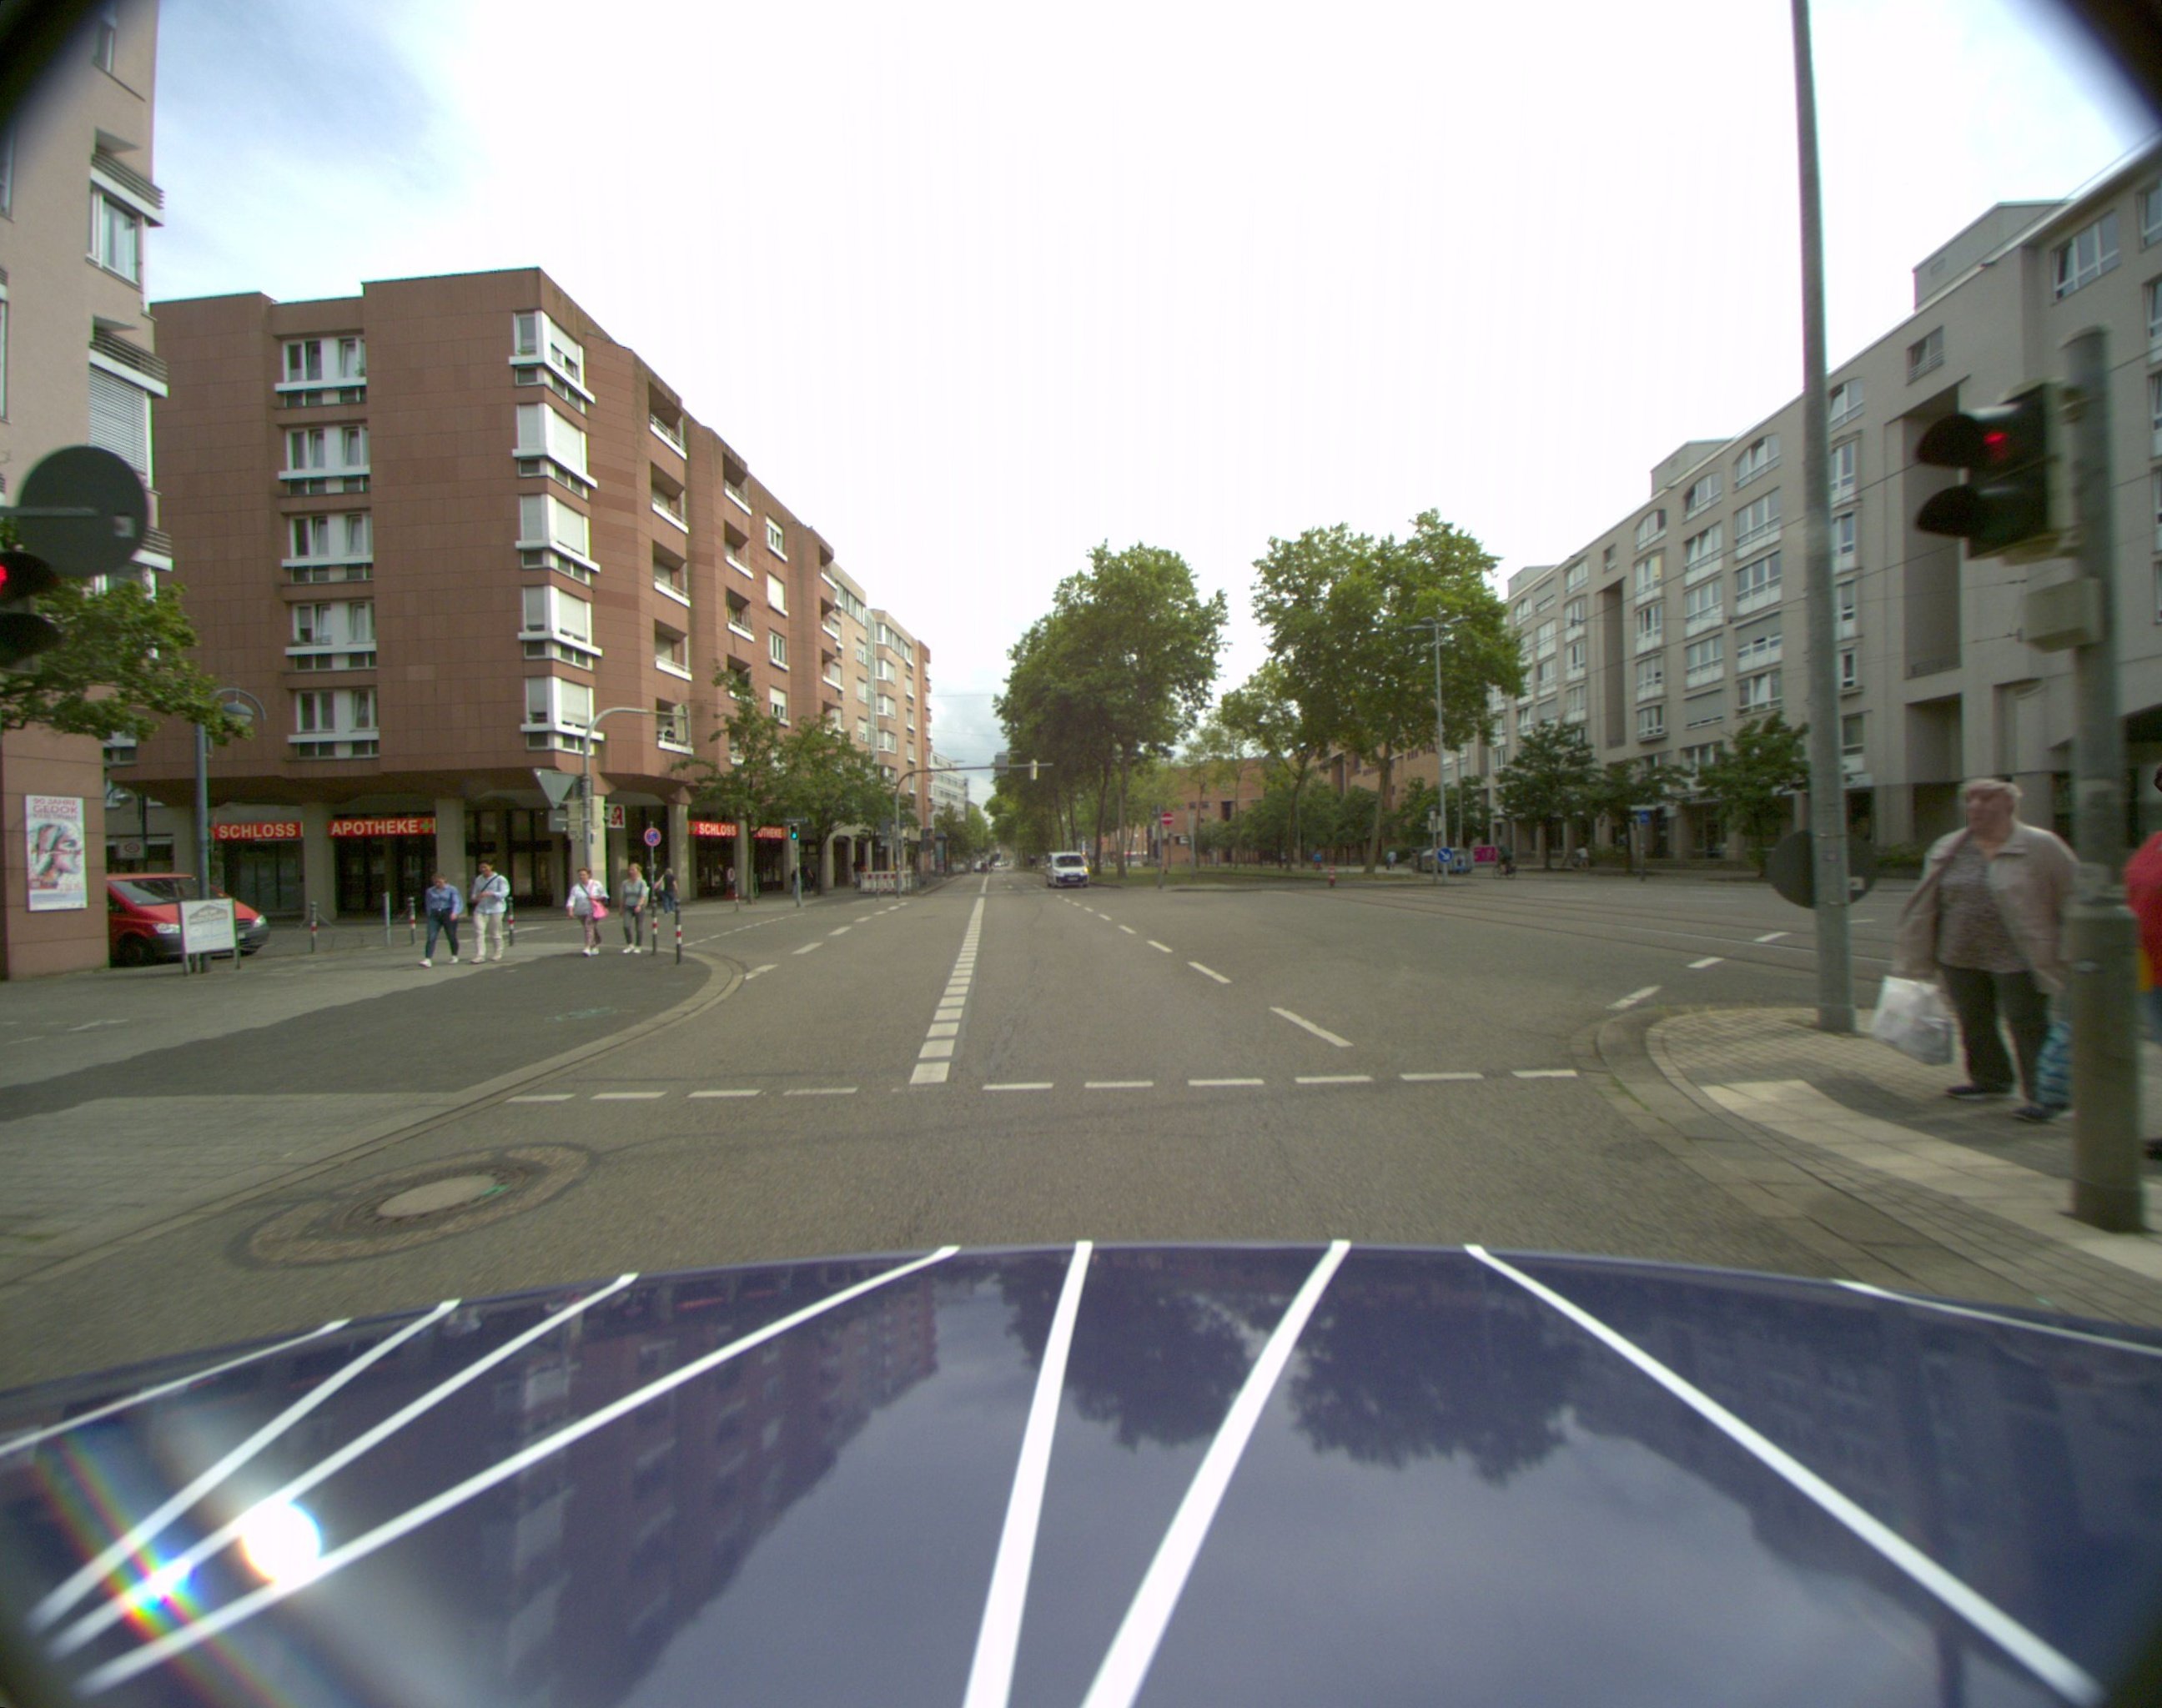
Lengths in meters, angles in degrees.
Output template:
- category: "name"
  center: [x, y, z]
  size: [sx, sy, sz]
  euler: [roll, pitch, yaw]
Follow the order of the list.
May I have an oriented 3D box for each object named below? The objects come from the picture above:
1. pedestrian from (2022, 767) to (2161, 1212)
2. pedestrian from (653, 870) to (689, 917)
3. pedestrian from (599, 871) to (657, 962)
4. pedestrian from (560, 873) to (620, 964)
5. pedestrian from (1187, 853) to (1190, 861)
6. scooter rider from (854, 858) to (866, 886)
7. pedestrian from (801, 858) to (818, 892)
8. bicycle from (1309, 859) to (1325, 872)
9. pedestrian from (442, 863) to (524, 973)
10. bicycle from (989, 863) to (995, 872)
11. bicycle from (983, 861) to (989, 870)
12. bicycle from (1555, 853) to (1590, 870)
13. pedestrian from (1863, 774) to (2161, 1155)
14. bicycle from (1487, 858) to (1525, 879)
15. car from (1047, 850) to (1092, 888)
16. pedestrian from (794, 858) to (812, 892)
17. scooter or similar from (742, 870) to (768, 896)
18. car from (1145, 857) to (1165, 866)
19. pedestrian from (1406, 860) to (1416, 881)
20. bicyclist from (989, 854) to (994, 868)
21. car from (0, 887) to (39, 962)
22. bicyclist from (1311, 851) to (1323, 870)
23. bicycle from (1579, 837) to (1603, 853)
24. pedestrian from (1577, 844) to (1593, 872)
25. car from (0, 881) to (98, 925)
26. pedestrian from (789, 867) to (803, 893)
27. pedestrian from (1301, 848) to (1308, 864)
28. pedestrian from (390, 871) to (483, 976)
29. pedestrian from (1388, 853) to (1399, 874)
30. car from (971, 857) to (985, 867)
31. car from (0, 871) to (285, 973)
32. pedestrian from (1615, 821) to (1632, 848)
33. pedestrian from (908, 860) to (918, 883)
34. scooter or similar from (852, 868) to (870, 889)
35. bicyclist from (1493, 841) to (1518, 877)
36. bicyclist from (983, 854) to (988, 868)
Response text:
- category: "pedestrian"
  center: [4.467, 0.515, 3.002]
  size: [0.553, 1.708, 0.892]
  euler: [-1, 1, 20]
- category: "pedestrian"
  center: [-13.991, 1.336, 25.944]
  size: [0.677, 1.529, 0.947]
  euler: [-1, 0, 1]
- category: "pedestrian"
  center: [-8.388, 1.142, 14.099]
  size: [0.518, 1.607, 0.850]
  euler: [-1, 0, -1]
- category: "pedestrian"
  center: [-9.058, 1.165, 14.049]
  size: [0.518, 1.607, 0.851]
  euler: [-1, 0, 0]
- category: "pedestrian"
  center: [21.835, 0.612, 153.929]
  size: [0.508, 1.523, 0.520]
  euler: [-1, 0, 8]
- category: "scooter rider"
  center: [-13.525, 1.107, 46.531]
  size: [0.463, 1.710, 0.553]
  euler: [-1, 1, 11]
- category: "pedestrian"
  center: [-14.499, 1.129, 40.561]
  size: [0.552, 1.789, 0.658]
  euler: [-1, 1, 5]
- category: "bicycle"
  center: [20.807, 1.037, 67.066]
  size: [0.692, 1.085, 1.876]
  euler: [-2, 0, -3]
- category: "pedestrian"
  center: [-10.280, 1.069, 13.081]
  size: [0.678, 1.818, 0.851]
  euler: [-1, 0, 0]
- category: "bicycle"
  center: [-10.932, 1.627, 93.302]
  size: [0.596, 1.132, 1.857]
  euler: [-1, 0, -6]
- category: "bicycle"
  center: [-11.959, 1.418, 95.632]
  size: [0.596, 1.132, 2.090]
  euler: [-1, 0, -6]
- category: "bicycle"
  center: [27.740, 0.413, 42.913]
  size: [1.631, 0.938, 0.440]
  euler: [-1, 1, 6]
- category: "pedestrian"
  center: [4.687, 0.499, 3.876]
  size: [0.553, 1.708, 0.891]
  euler: [-1, 1, 11]
- category: "bicycle"
  center: [22.215, 0.746, 39.760]
  size: [0.679, 1.086, 2.209]
  euler: [-1, 0, -2]
- category: "car"
  center: [-0.694, 0.785, 41.077]
  size: [1.938, 1.914, 4.953]
  euler: [-1, 0, -6]
- category: "pedestrian"
  center: [-15.027, 1.147, 41.105]
  size: [0.552, 1.789, 0.658]
  euler: [-1, 1, 24]
- category: "scooter or similar"
  center: [-15.480, 1.351, 36.124]
  size: [0.555, 1.163, 1.406]
  euler: [-1, 0, 3]
- category: "car"
  center: [10.479, 1.046, 107.771]
  size: [1.735, 1.238, 4.532]
  euler: [-2, 0, -7]
- category: "pedestrian"
  center: [26.993, 1.374, 62.187]
  size: [0.554, 1.695, 0.626]
  euler: [-1, 1, -2]
- category: "bicyclist"
  center: [-10.938, 0.879, 93.264]
  size: [0.591, 1.760, 1.034]
  euler: [-1, 0, -6]
- category: "car"
  center: [-25.910, 1.630, 16.266]
  size: [4.836, 1.581, 2.000]
  euler: [-1, 2, 6]
- category: "bicyclist"
  center: [20.793, 0.560, 67.027]
  size: [0.692, 1.663, 0.953]
  euler: [-2, 0, -3]
- category: "bicycle"
  center: [31.870, -0.562, 47.514]
  size: [0.440, 0.938, 1.633]
  euler: [-1, 0, 1]
- category: "pedestrian"
  center: [28.074, 0.224, 42.312]
  size: [0.515, 1.521, 0.533]
  euler: [-2, 0, -16]
- category: "car"
  center: [-42.001, 1.934, 29.933]
  size: [1.850, 1.548, 4.453]
  euler: [-2, 0, -20]
- category: "pedestrian"
  center: [-15.049, 1.358, 40.079]
  size: [0.486, 1.316, 0.487]
  euler: [-2, 1, -44]
- category: "pedestrian"
  center: [24.332, 0.244, 82.611]
  size: [0.554, 1.695, 0.626]
  euler: [-1, 0, -2]
- category: "pedestrian"
  center: [-10.946, 1.145, 12.944]
  size: [0.653, 1.691, 1.022]
  euler: [-1, 0, 2]
- category: "pedestrian"
  center: [24.919, 0.750, 60.642]
  size: [0.554, 1.695, 0.626]
  euler: [-1, 0, -2]
- category: "car"
  center: [-16.061, 1.272, 119.016]
  size: [1.822, 1.434, 4.664]
  euler: [-1, 0, -4]
- category: "car"
  center: [-19.840, 1.357, 15.738]
  size: [4.836, 1.815, 2.000]
  euler: [-1, 2, 6]
- category: "pedestrian"
  center: [32.449, -1.153, 45.471]
  size: [0.571, 1.596, 0.548]
  euler: [-3, 1, 2]
- category: "pedestrian"
  center: [-11.928, 1.223, 53.991]
  size: [0.545, 1.640, 0.824]
  euler: [-1, 0, -6]
- category: "scooter or similar"
  center: [-13.505, 1.502, 46.589]
  size: [0.474, 1.199, 1.331]
  euler: [-1, 0, 11]
- category: "bicyclist"
  center: [22.208, 0.255, 39.767]
  size: [0.668, 1.837, 1.081]
  euler: [-1, 0, -2]
- category: "bicyclist"
  center: [-11.957, 0.841, 95.565]
  size: [0.591, 1.757, 1.034]
  euler: [-1, 0, -6]
